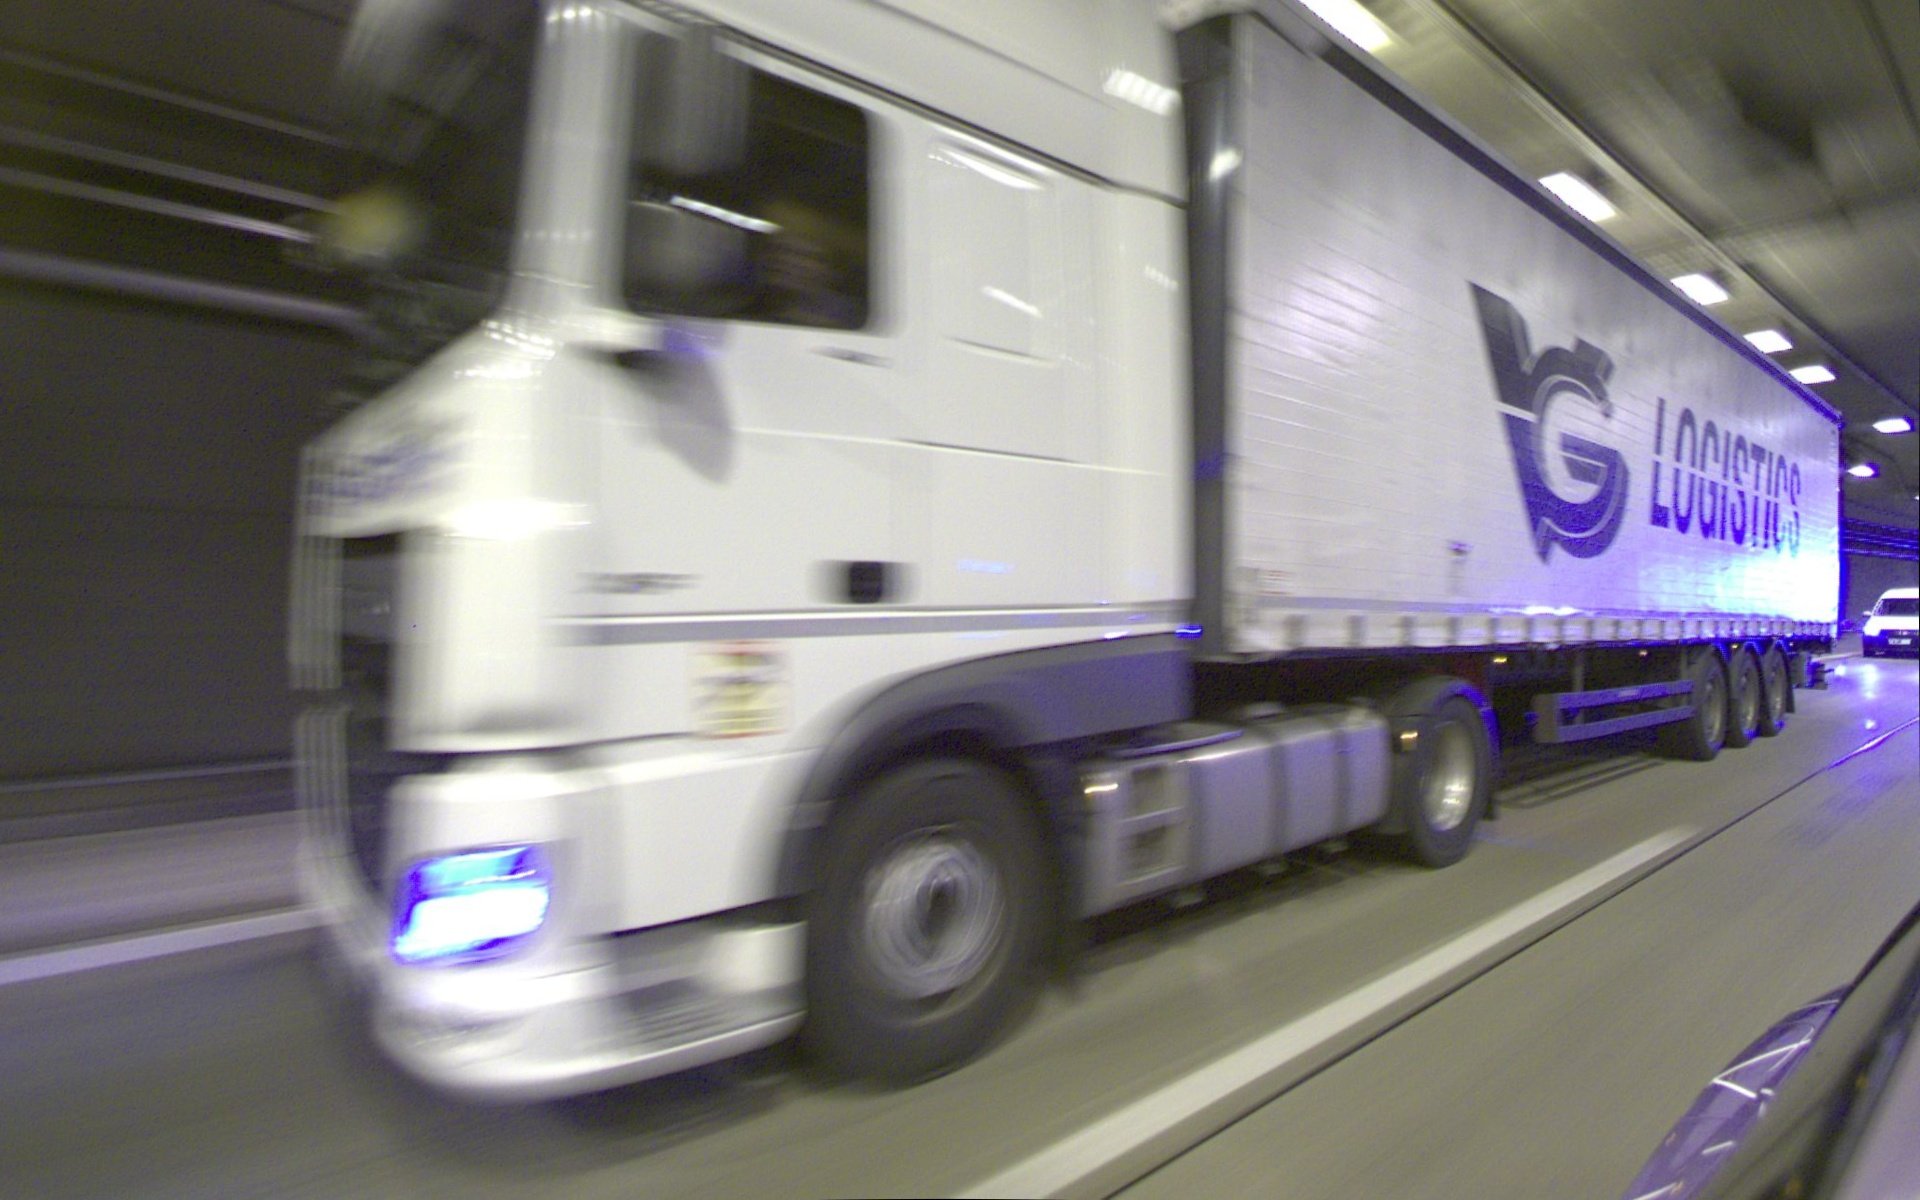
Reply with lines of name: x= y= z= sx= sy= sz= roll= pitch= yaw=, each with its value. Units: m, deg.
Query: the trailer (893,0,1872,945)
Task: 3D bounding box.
trailer: x=5.664 y=-0.738 z=9.566 sx=13.755 sy=4.216 sz=2.625 roll=0 pitch=-1 yaw=-41

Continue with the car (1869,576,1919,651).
car: x=25.614 y=0.337 z=26.591 sx=4.209 sy=1.883 sz=1.840 roll=0 pitch=0 yaw=-37

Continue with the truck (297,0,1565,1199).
truck: x=0.429 y=-0.684 z=4.977 sx=5.900 sy=4.216 sz=2.651 roll=0 pitch=0 yaw=-41
